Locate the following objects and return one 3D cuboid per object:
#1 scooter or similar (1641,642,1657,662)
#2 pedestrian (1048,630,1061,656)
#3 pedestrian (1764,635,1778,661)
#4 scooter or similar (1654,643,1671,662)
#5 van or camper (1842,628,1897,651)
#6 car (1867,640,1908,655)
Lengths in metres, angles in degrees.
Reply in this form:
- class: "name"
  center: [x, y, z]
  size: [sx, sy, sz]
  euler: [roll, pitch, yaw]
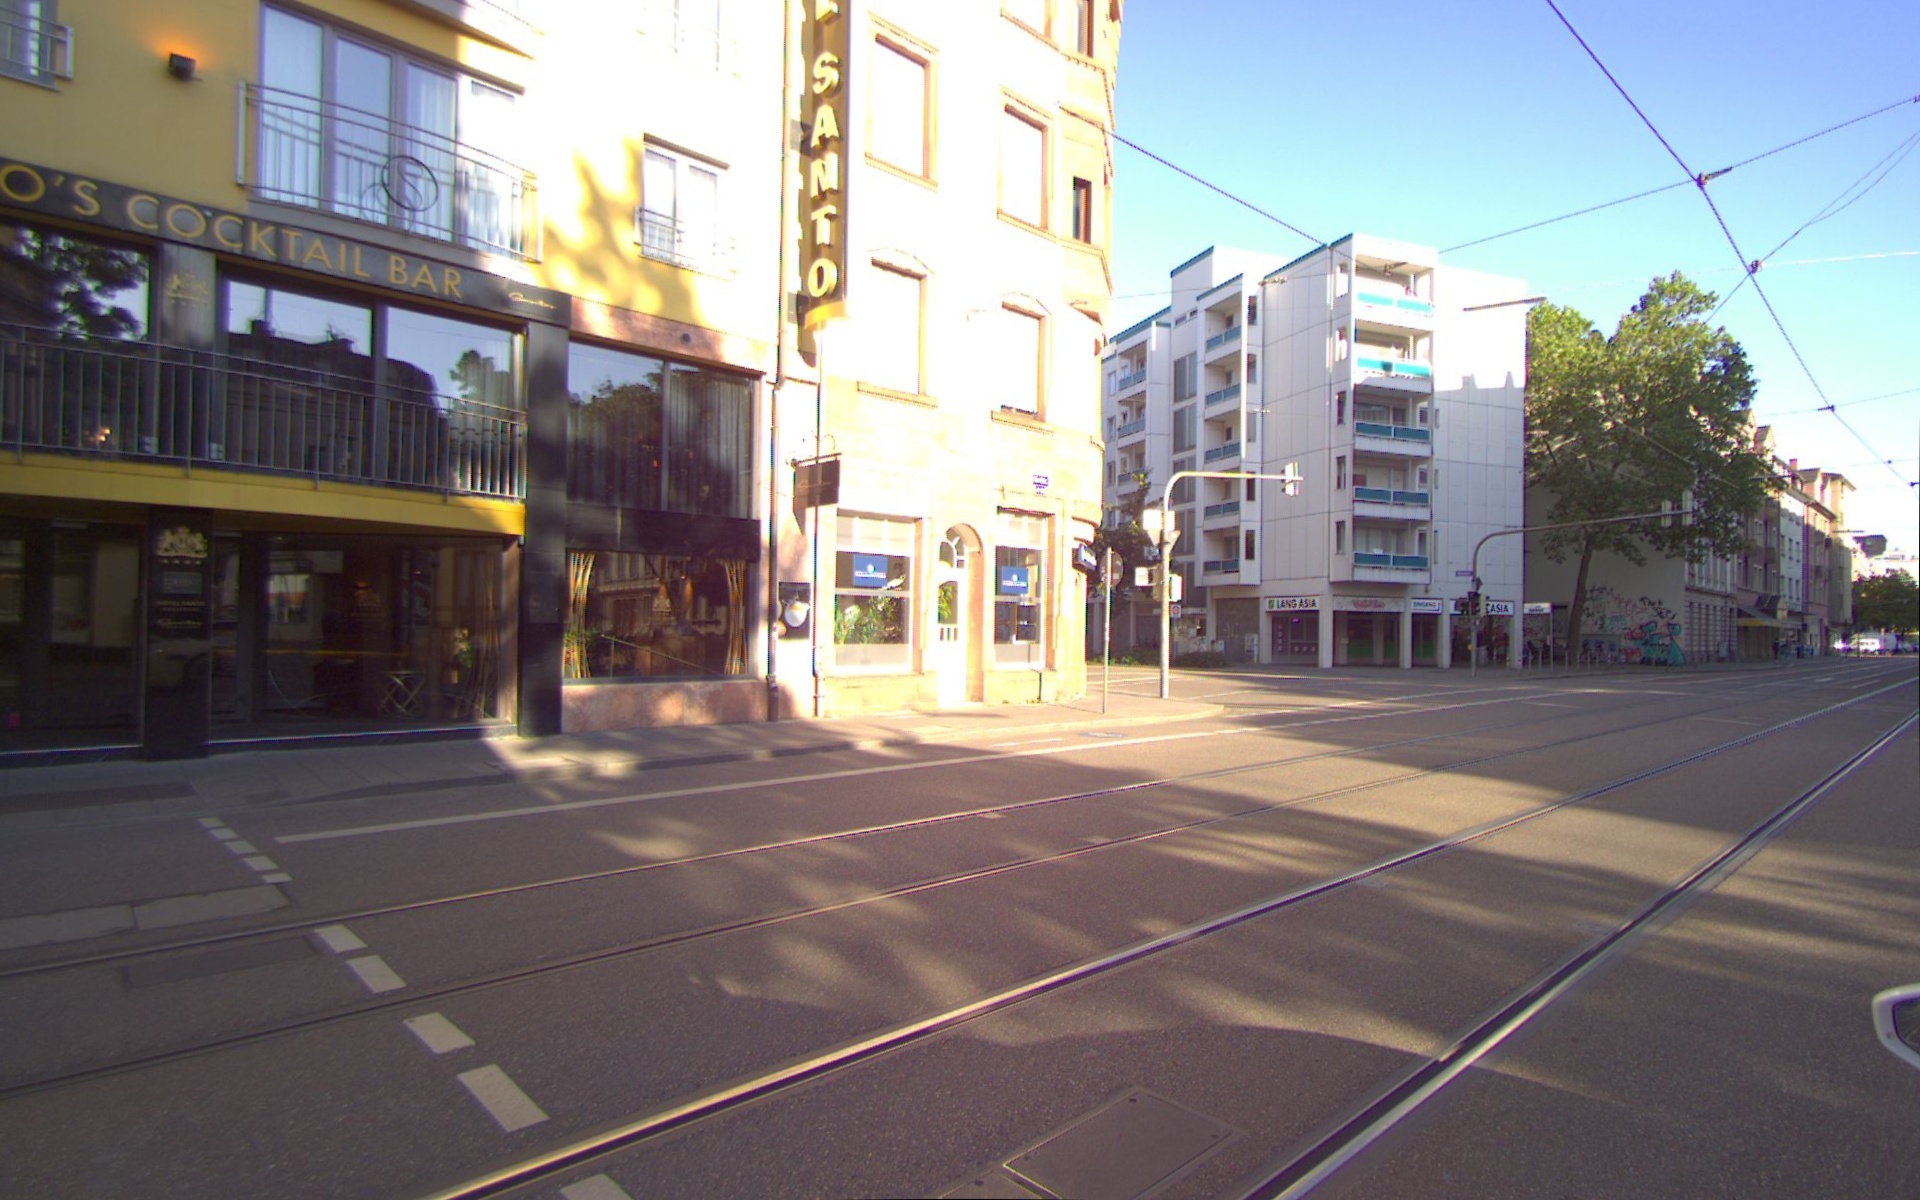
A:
- class: "scooter or similar"
  center: [38.452, 2.900, 56.046]
  size: [0.511, 1.059, 1.469]
  euler: [0, -2, 44]
- class: "pedestrian"
  center: [6.243, 2.855, 66.559]
  size: [0.652, 1.718, 0.645]
  euler: [1, -1, -20]
- class: "pedestrian"
  center: [55.828, 3.276, 69.141]
  size: [0.643, 1.751, 0.694]
  euler: [2, -2, -43]
- class: "scooter or similar"
  center: [38.892, 2.896, 55.613]
  size: [0.511, 1.071, 1.469]
  euler: [0, -2, 44]
- class: "van or camper"
  center: [110.975, 4.805, 122.574]
  size: [4.557, 2.597, 2.001]
  euler: [1, -1, 16]
- class: "car"
  center: [135.599, 6.883, 146.929]
  size: [3.923, 2.040, 1.999]
  euler: [0, -2, 22]
